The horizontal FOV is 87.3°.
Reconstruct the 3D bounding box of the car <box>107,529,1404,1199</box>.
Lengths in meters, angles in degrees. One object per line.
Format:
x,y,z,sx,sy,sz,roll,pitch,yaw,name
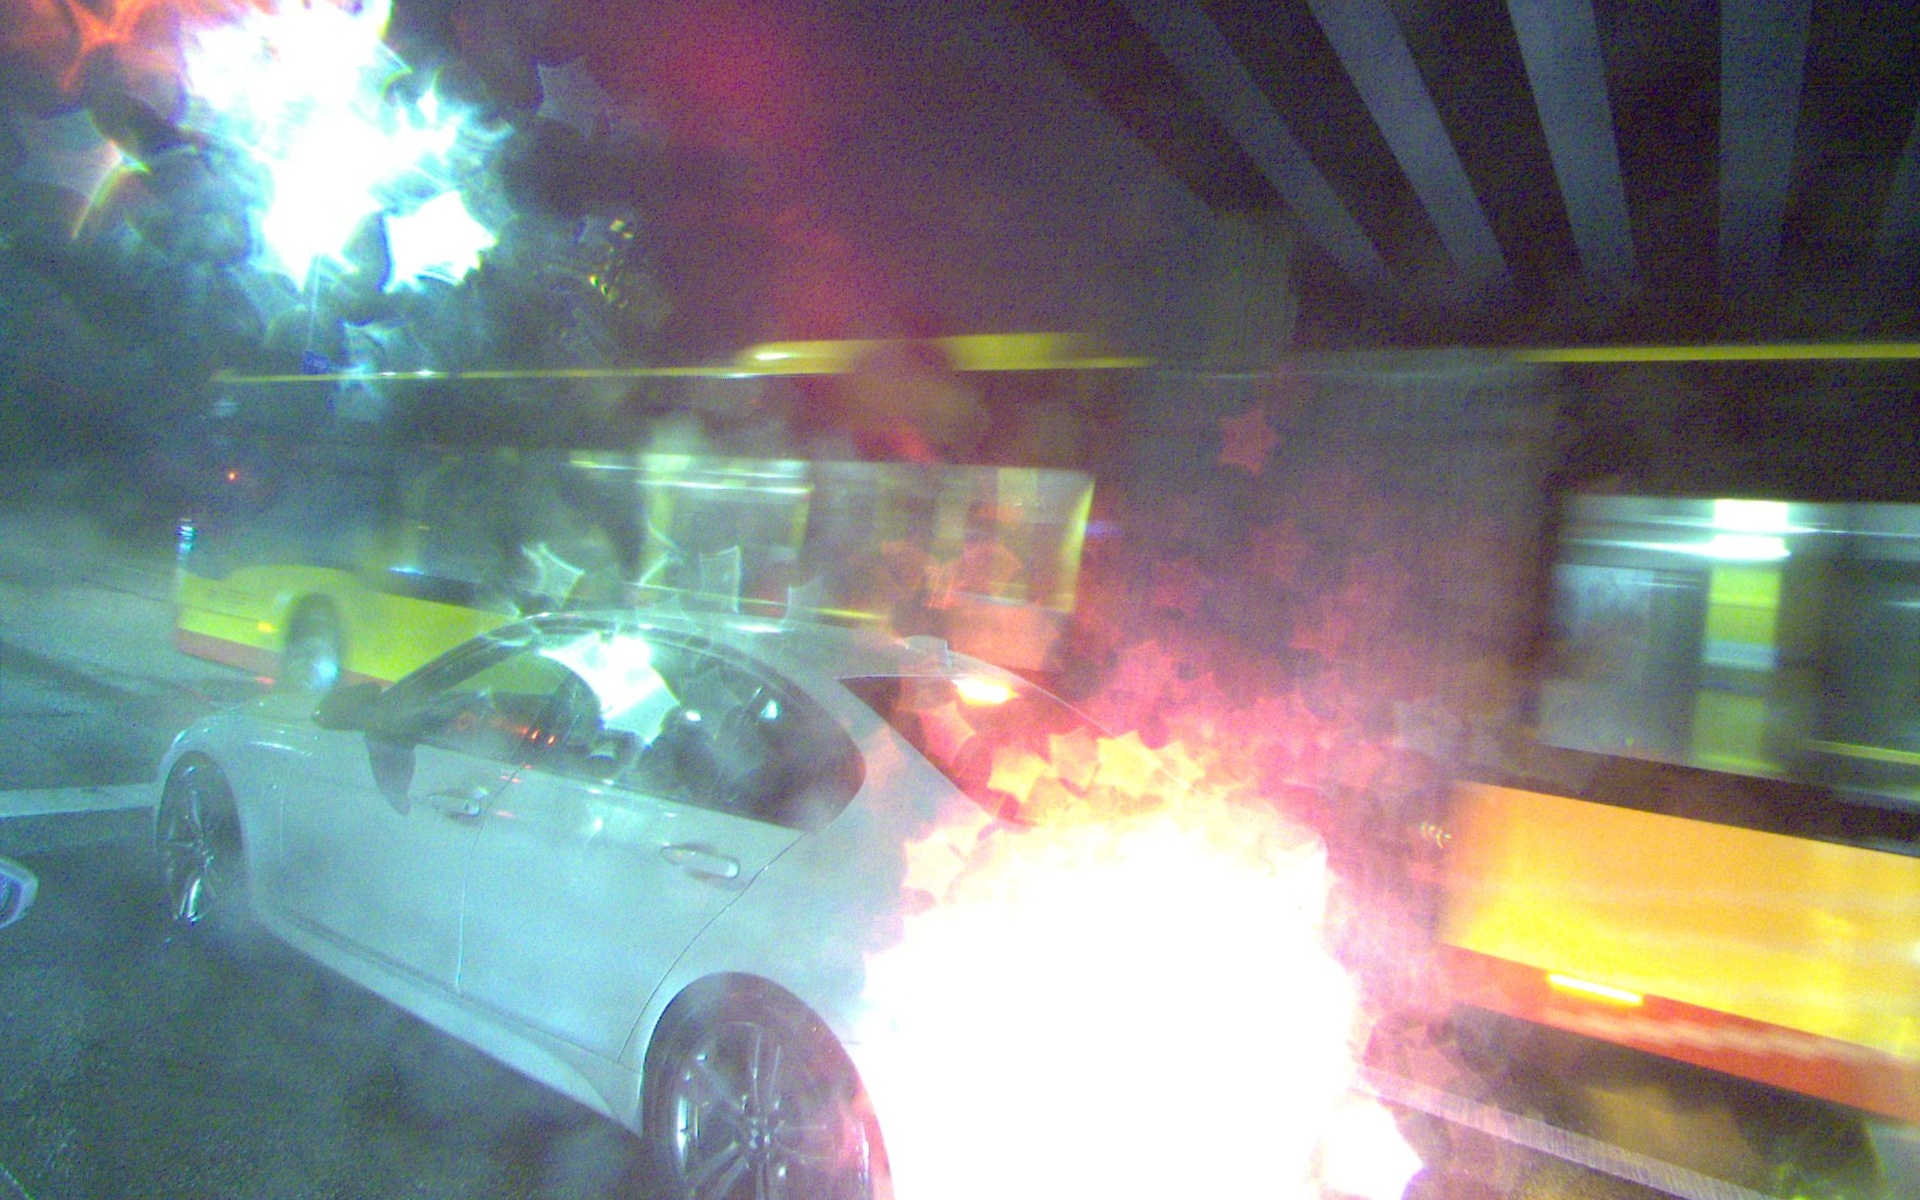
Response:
-0.956,0.711,3.492,4.277,1.420,1.720,6,-2,32,car

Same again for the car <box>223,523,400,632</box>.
-11.163,-0.442,17.599,1.733,1.448,3.739,9,0,-22,car

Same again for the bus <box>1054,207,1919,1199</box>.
5.405,0.668,3.311,9.598,3.160,2.775,7,-1,31,bus

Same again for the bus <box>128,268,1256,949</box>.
-2.907,-0.334,8.288,9.598,3.160,2.775,7,-1,31,bus
